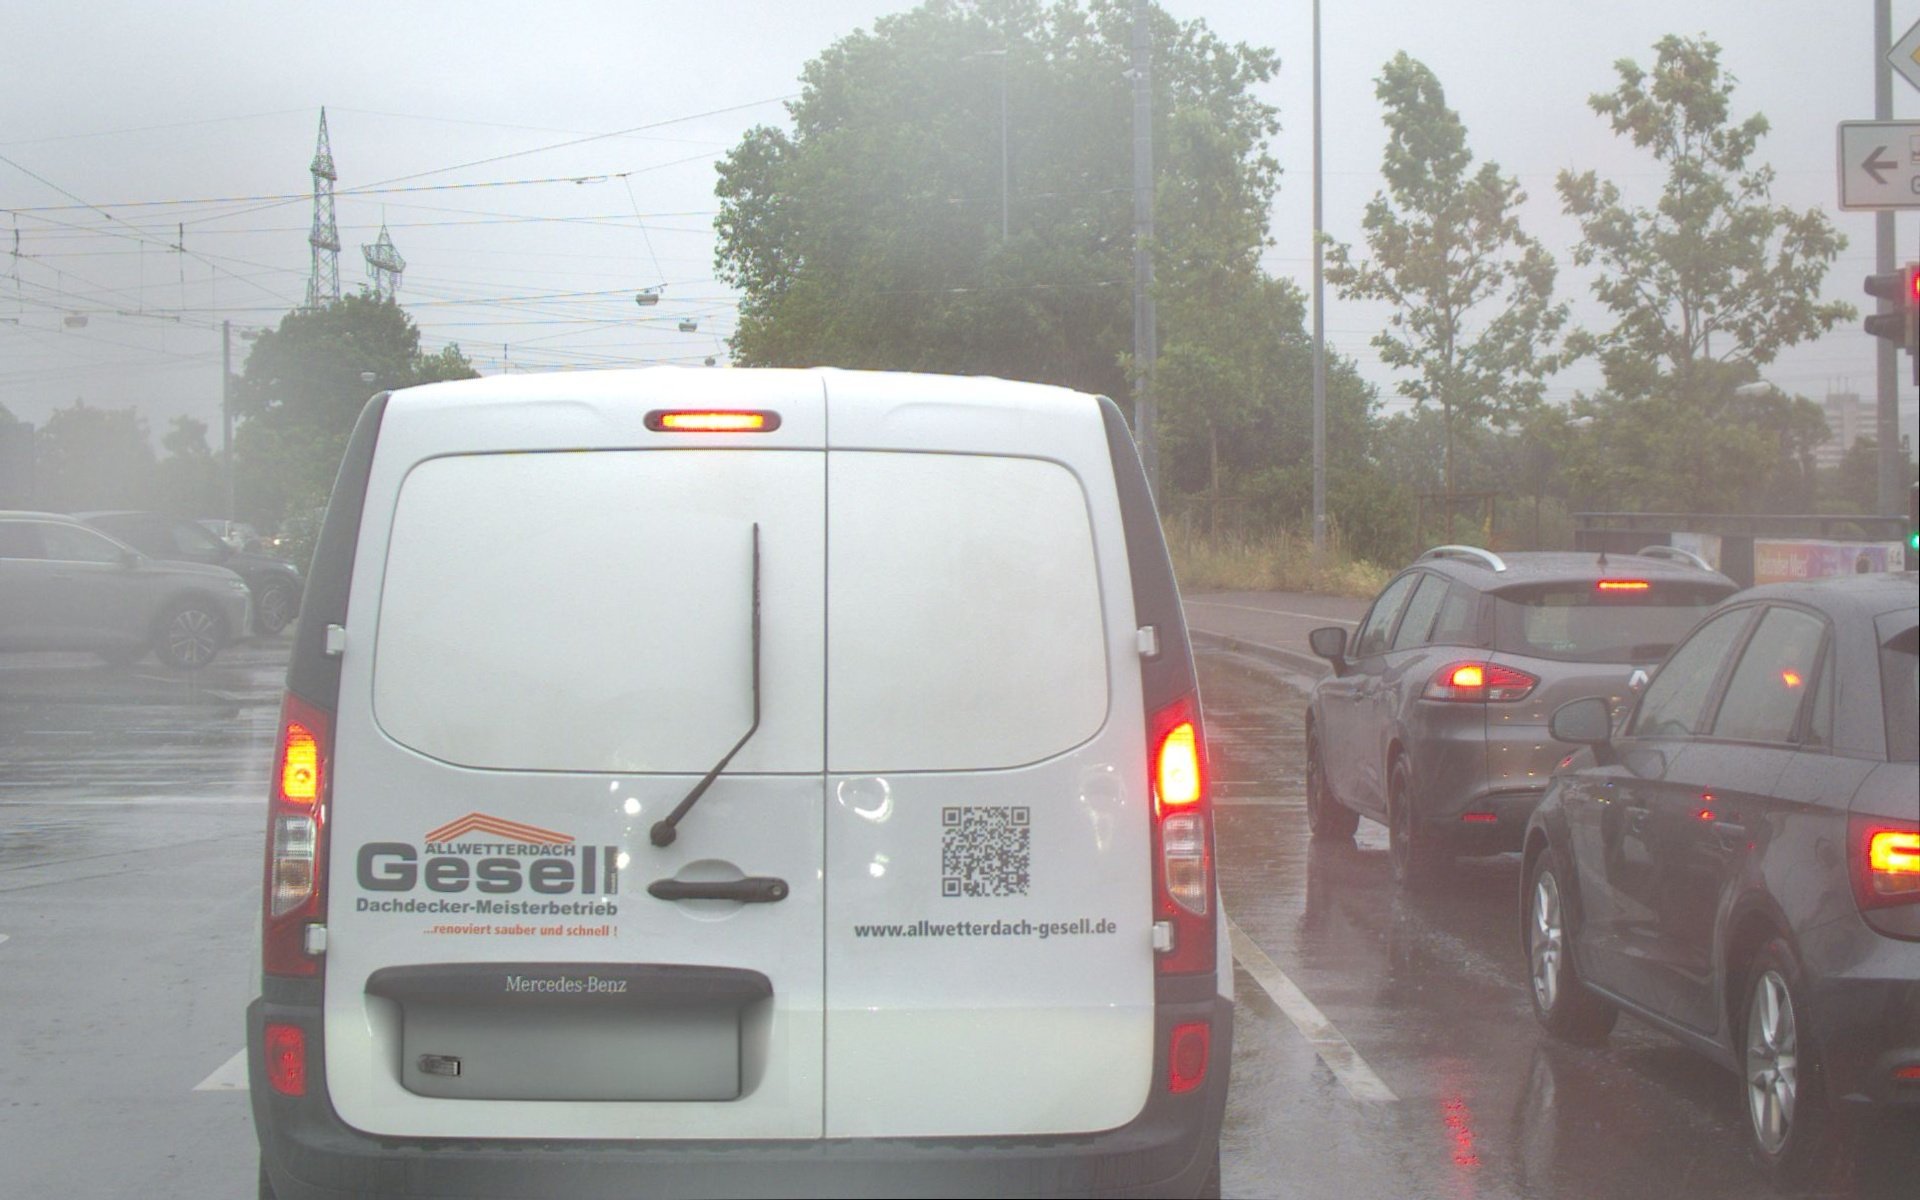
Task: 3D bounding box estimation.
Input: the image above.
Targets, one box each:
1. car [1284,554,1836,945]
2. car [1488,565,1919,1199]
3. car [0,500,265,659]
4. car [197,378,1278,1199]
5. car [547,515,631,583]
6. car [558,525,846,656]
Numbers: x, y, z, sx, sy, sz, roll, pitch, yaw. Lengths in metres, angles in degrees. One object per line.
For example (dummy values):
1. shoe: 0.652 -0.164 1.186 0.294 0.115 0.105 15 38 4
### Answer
1. car: 2.548 0.565 15.501 1.684 1.503 3.921 1 1 -1
2. car: 2.536 0.606 8.925 1.597 1.362 3.631 -1 0 -3
3. car: -9.491 -0.233 34.684 4.495 1.496 1.714 2 0 -35
4. car: -0.507 0.454 7.716 1.754 1.744 4.170 1 2 -4
5. car: -9.620 -1.307 89.464 1.947 1.656 4.465 2 0 -4
6. car: -3.155 -0.090 42.979 1.818 1.496 4.268 2 0 22
